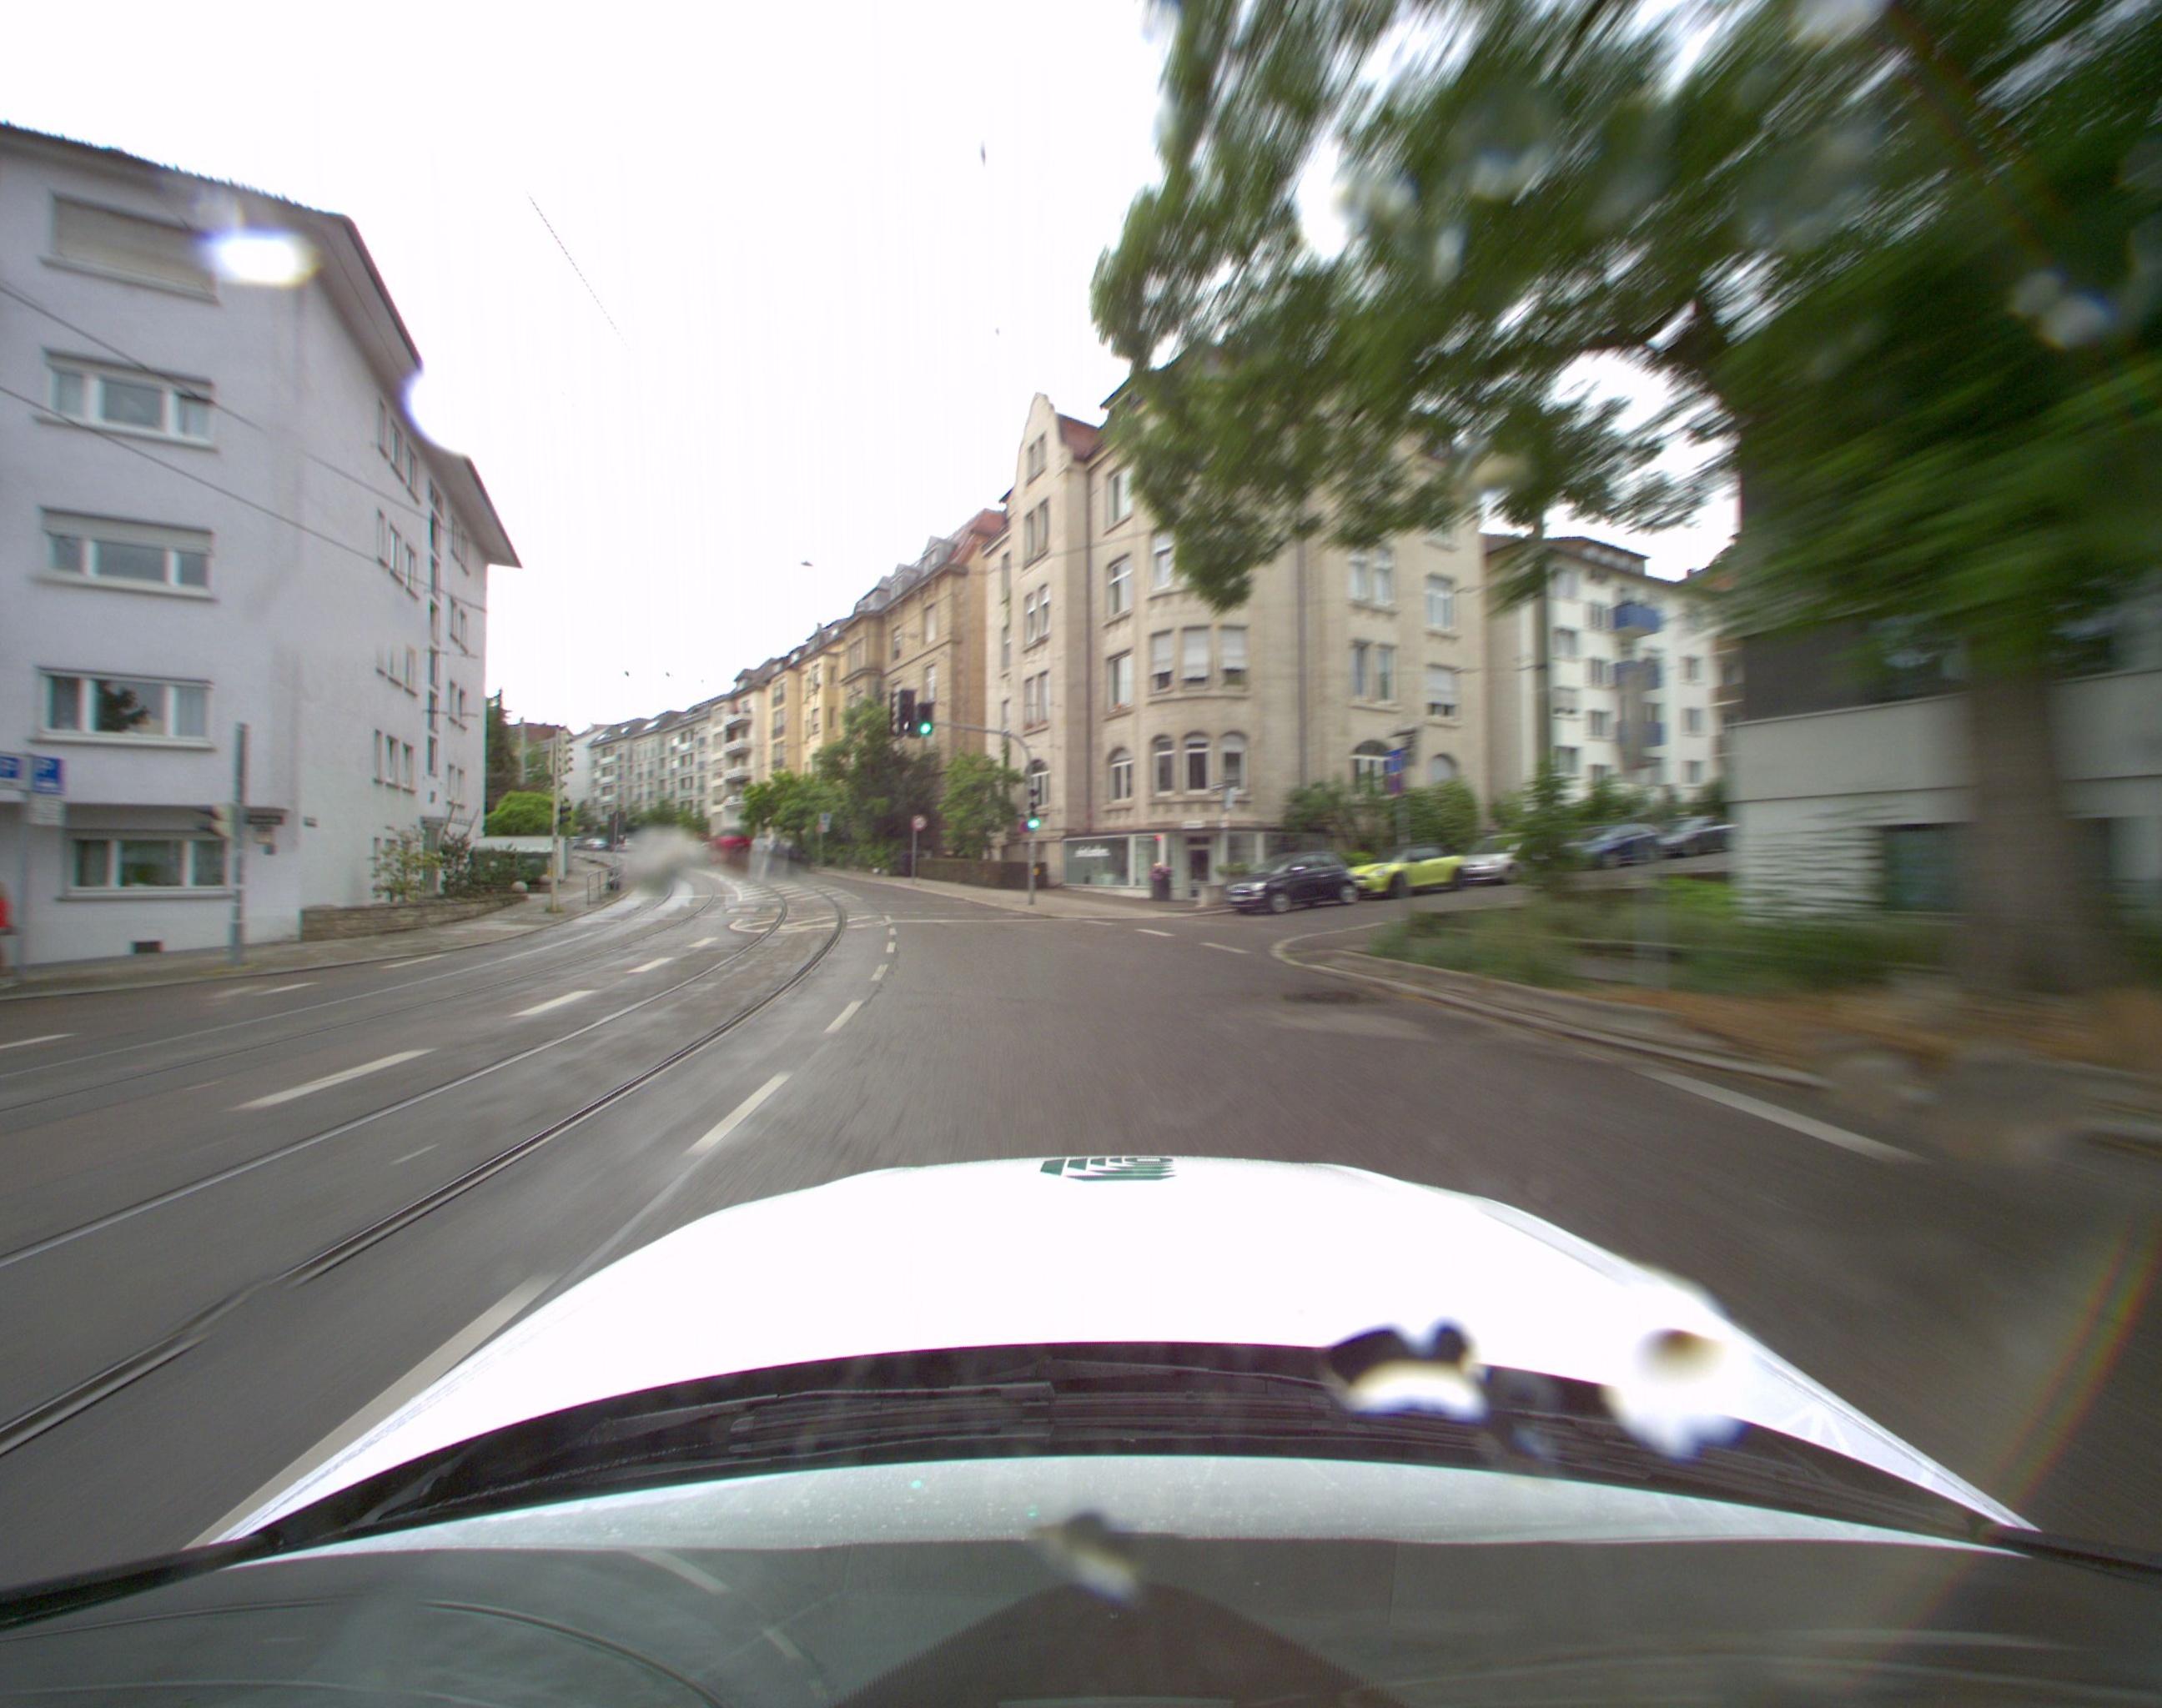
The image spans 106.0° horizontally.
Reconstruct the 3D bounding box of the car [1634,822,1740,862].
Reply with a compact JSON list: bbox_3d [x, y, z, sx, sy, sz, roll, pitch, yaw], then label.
[{"bbox_3d":[22.378,-0.455,30.054,3.965,1.324,1.608,-2,-2,-29],"label":"car"}]

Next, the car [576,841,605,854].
[{"bbox_3d":[-58.901,-0.790,97.754,4.581,1.434,1.778,2,1,43],"label":"car"}]

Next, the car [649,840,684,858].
[{"bbox_3d":[-39.486,-0.481,77.526,1.853,1.573,4.197,4,-1,-43],"label":"car"}]

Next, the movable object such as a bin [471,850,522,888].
[{"bbox_3d":[-22.292,0.563,31.101,1.376,1.336,1.314,-1,3,-28],"label":"movable object such as a bin"}]

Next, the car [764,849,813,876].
[{"bbox_3d":[-17.659,0.496,49.097,1.778,1.390,3.959,2,1,-34],"label":"car"}]

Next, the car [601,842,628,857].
[{"bbox_3d":[-53.149,-0.544,92.737,3.668,1.512,1.717,2,-1,45],"label":"car"}]

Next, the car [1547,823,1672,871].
[{"bbox_3d":[17.814,-0.201,27.455,3.901,1.508,1.611,0,-2,-23],"label":"car"}]

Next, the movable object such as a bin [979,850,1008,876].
[{"bbox_3d":[-5.121,0.499,47.437,1.239,1.425,1.294,-1,1,-34],"label":"movable object such as a bin"}]

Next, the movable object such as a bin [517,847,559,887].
[{"bbox_3d":[-21.130,0.481,31.700,1.192,1.461,1.279,-1,3,-27],"label":"movable object such as a bin"}]

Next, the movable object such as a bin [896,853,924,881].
[{"bbox_3d":[-9.278,0.684,44.223,1.235,1.402,0.813,-2,4,-41],"label":"movable object such as a bin"}]

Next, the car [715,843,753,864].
[{"bbox_3d":[-25.643,-0.066,60.202,1.735,1.437,3.799,2,0,-36],"label":"car"}]

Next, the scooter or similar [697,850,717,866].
[{"bbox_3d":[-26.437,0.295,57.506,1.984,1.049,0.518,3,-2,44],"label":"scooter or similar"}]

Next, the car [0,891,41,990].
[{"bbox_3d":[-18.664,1.426,11.620,4.262,1.454,1.840,-1,3,-28],"label":"car"}]

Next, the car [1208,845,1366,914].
[{"bbox_3d":[5.347,0.602,21.095,3.676,1.508,1.724,-3,1,-25],"label":"car"}]

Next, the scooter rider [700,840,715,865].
[{"bbox_3d":[-26.338,-0.106,57.409,0.833,1.706,0.628,3,-2,44],"label":"scooter rider"}]

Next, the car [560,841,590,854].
[{"bbox_3d":[-64.792,-0.820,104.275,4.193,1.615,1.783,2,1,36],"label":"car"}]

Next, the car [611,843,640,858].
[{"bbox_3d":[-50.101,-0.386,89.476,1.676,1.472,4.453,3,-2,-44],"label":"car"}]

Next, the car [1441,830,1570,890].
[{"bbox_3d":[13.076,0.175,25.051,3.784,1.508,1.608,-4,-1,-29],"label":"car"}]

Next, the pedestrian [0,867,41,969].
[{"bbox_3d":[-18.697,1.093,13.992,0.746,1.699,0.668,0,3,-24],"label":"pedestrian"}]

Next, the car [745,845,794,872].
[{"bbox_3d":[-20.452,0.271,53.372,1.780,1.603,4.240,0,1,-38],"label":"car"}]

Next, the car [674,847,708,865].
[{"bbox_3d":[-34.146,0.144,71.272,1.569,1.437,4.253,2,0,-41],"label":"car"}]

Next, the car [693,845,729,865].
[{"bbox_3d":[-30.191,0.080,66.480,1.697,1.437,4.018,2,0,-39],"label":"car"}]

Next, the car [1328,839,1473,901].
[{"bbox_3d":[9.039,0.411,23.033,3.676,1.508,1.723,-3,1,-25],"label":"car"}]

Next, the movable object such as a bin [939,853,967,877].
[{"bbox_3d":[-7.233,0.599,46.026,1.226,1.308,1.156,-1,1,-34],"label":"movable object such as a bin"}]
